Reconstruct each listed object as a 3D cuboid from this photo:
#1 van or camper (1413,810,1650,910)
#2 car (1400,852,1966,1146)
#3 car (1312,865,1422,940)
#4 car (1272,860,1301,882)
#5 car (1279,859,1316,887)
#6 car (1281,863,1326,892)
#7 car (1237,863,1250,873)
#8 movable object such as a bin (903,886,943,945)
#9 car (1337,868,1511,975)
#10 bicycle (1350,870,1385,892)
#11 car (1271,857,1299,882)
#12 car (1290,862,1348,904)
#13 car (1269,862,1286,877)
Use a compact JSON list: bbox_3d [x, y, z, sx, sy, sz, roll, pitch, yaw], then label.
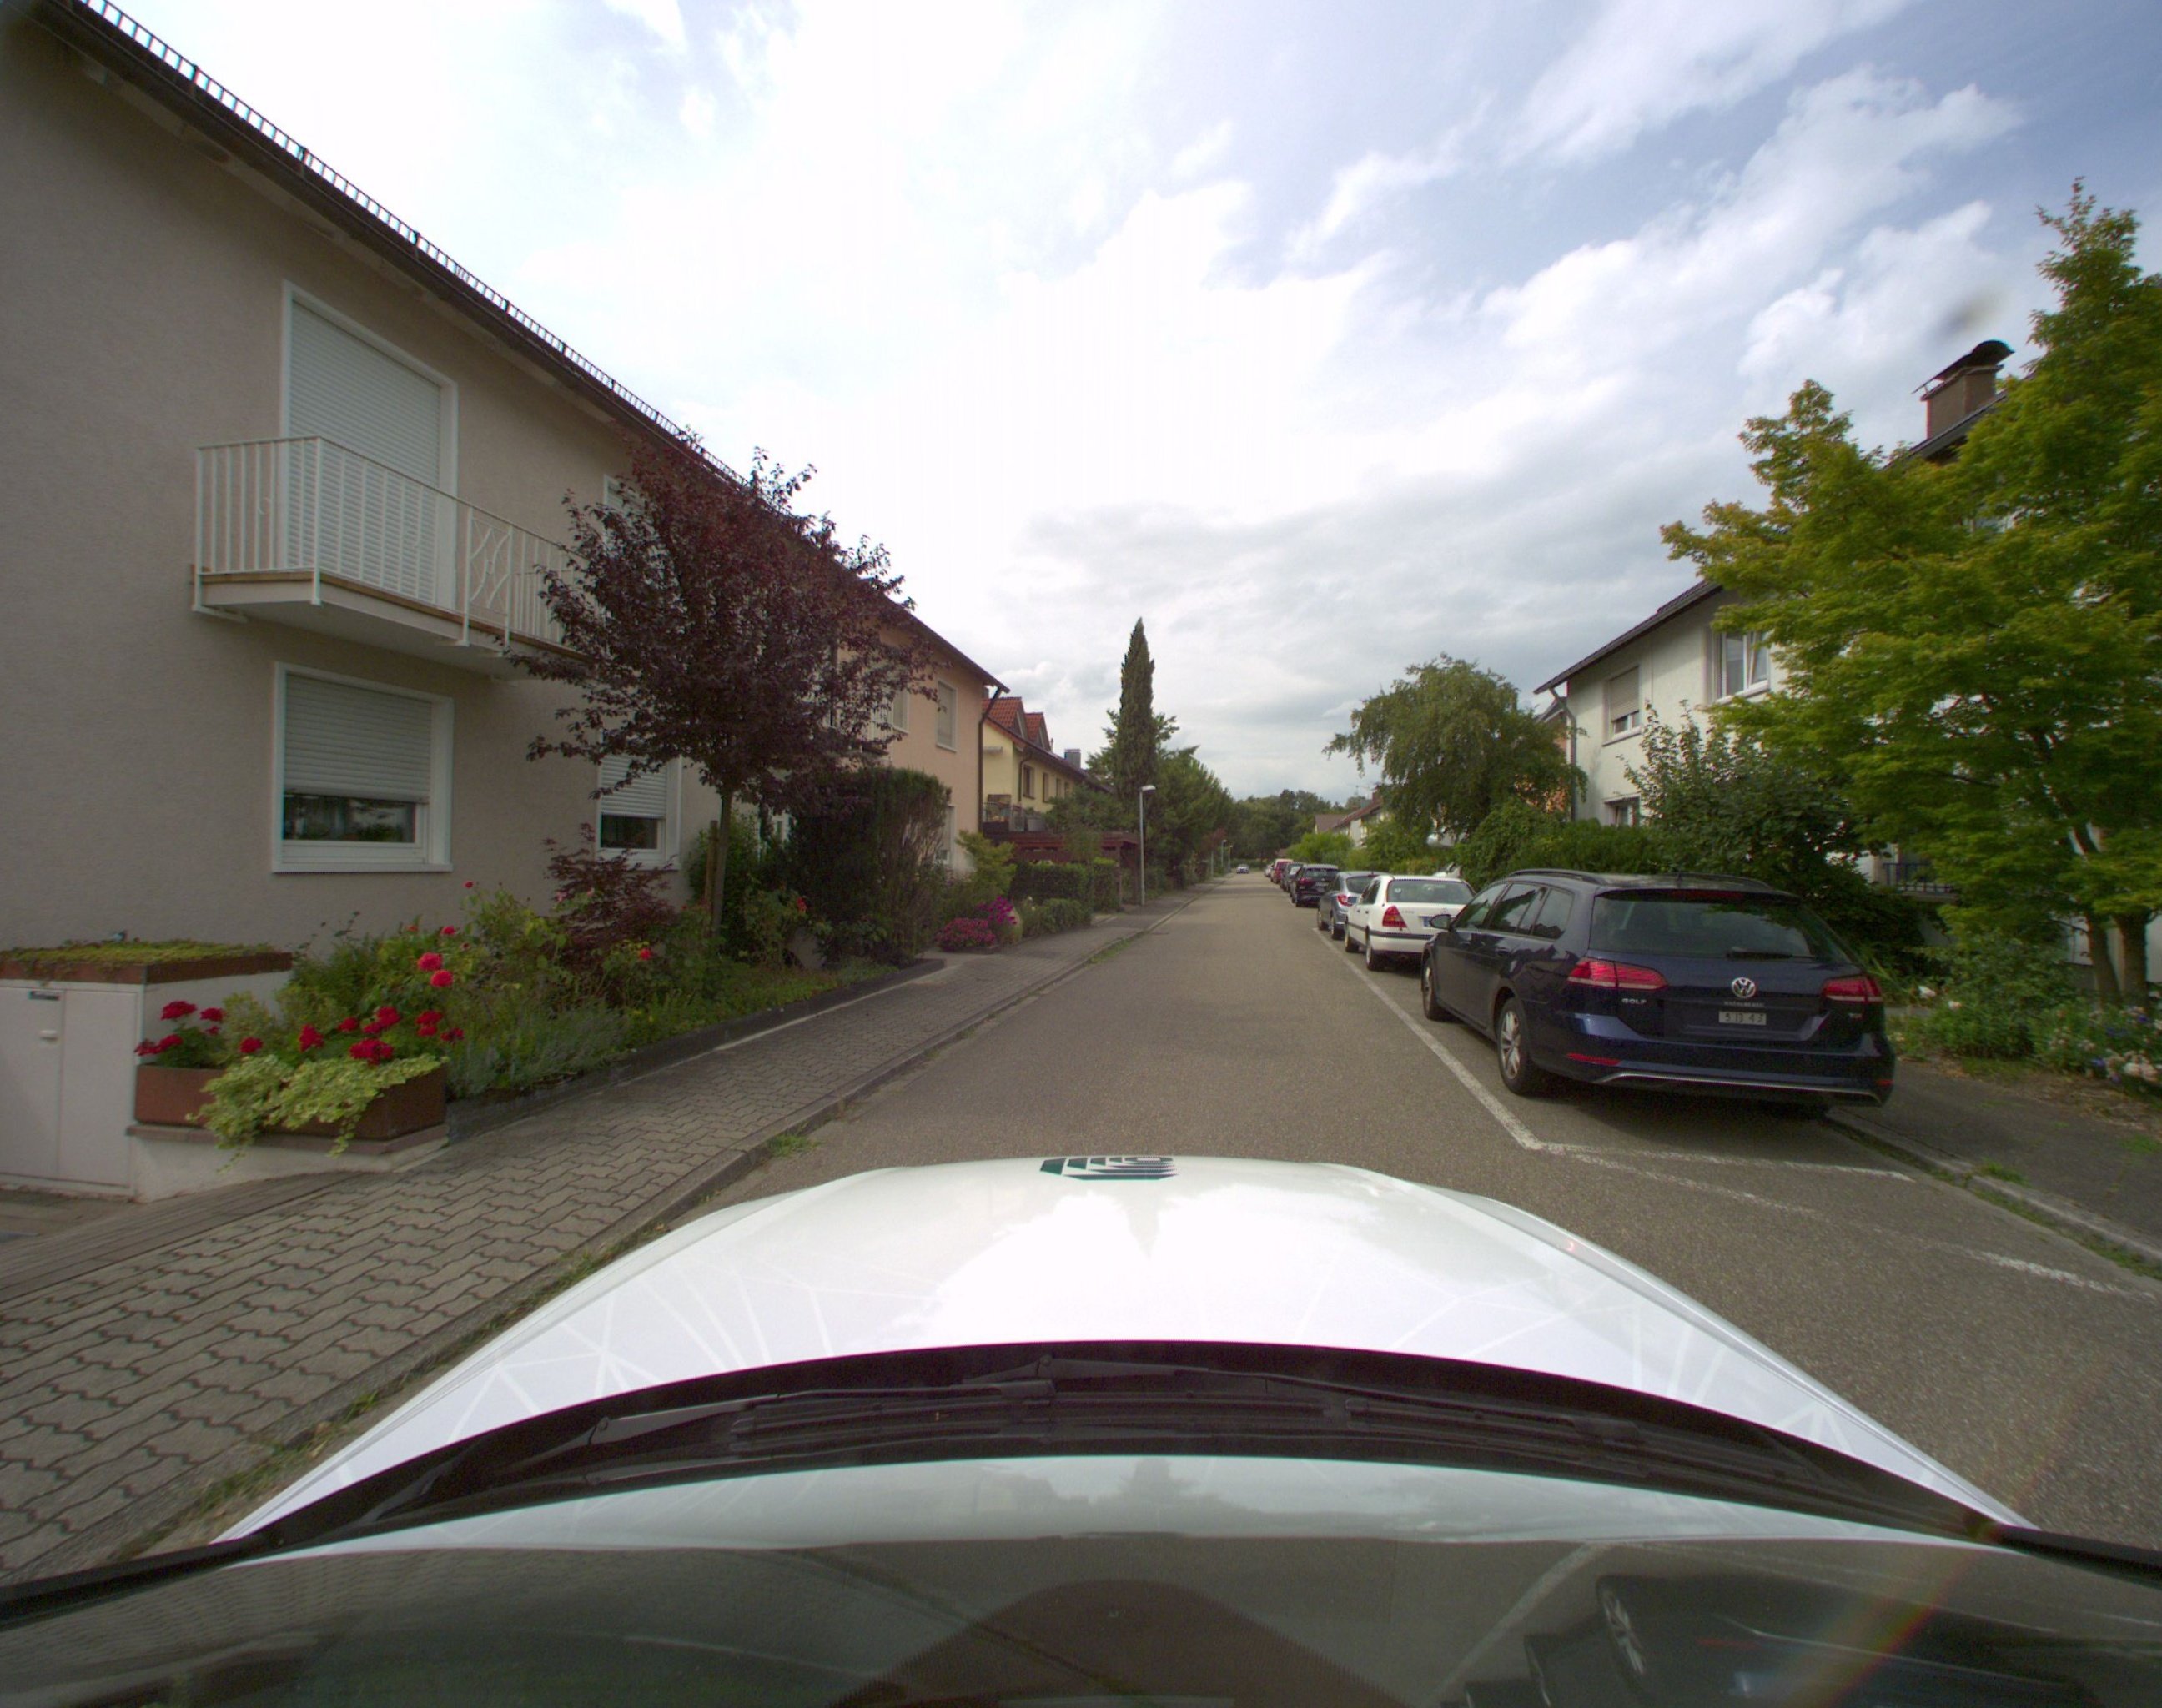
[{"bbox_3d":[13.468,0.212,24.799,5.765,2.818,2.543,-1,-1,8],"label":"van or camper"},{"bbox_3d":[3.948,0.736,6.554,1.855,1.440,4.867,0,-1,13],"label":"car"},{"bbox_3d":[6.352,1.008,18.522,1.731,1.471,4.229,-1,-1,10],"label":"car"},{"bbox_3d":[16.136,1.352,64.208,1.800,1.651,4.421,-1,-1,8],"label":"car"},{"bbox_3d":[13.309,1.119,50.277,1.856,1.653,4.476,0,-1,10],"label":"car"},{"bbox_3d":[11.952,1.216,43.958,1.856,1.407,4.780,1,0,10],"label":"car"},{"bbox_3d":[26.547,2.281,133.207,1.921,1.556,4.650,-1,-1,13],"label":"car"},{"bbox_3d":[-2.593,1.007,13.396,0.486,0.931,0.507,0,-1,11],"label":"movable object such as a bin"},{"bbox_3d":[5.262,0.932,13.133,1.682,1.365,4.712,0,-1,11],"label":"car"},{"bbox_3d":[13.638,1.270,38.813,1.526,1.023,0.378,-1,-1,17],"label":"bicycle"},{"bbox_3d":[17.255,1.296,69.100,2.008,1.947,4.760,-1,-1,10],"label":"car"},{"bbox_3d":[8.881,1.026,30.739,1.738,1.467,4.662,0,-1,12],"label":"car"},{"bbox_3d":[21.218,1.655,88.194,1.702,1.544,3.987,1,0,12],"label":"car"}]
